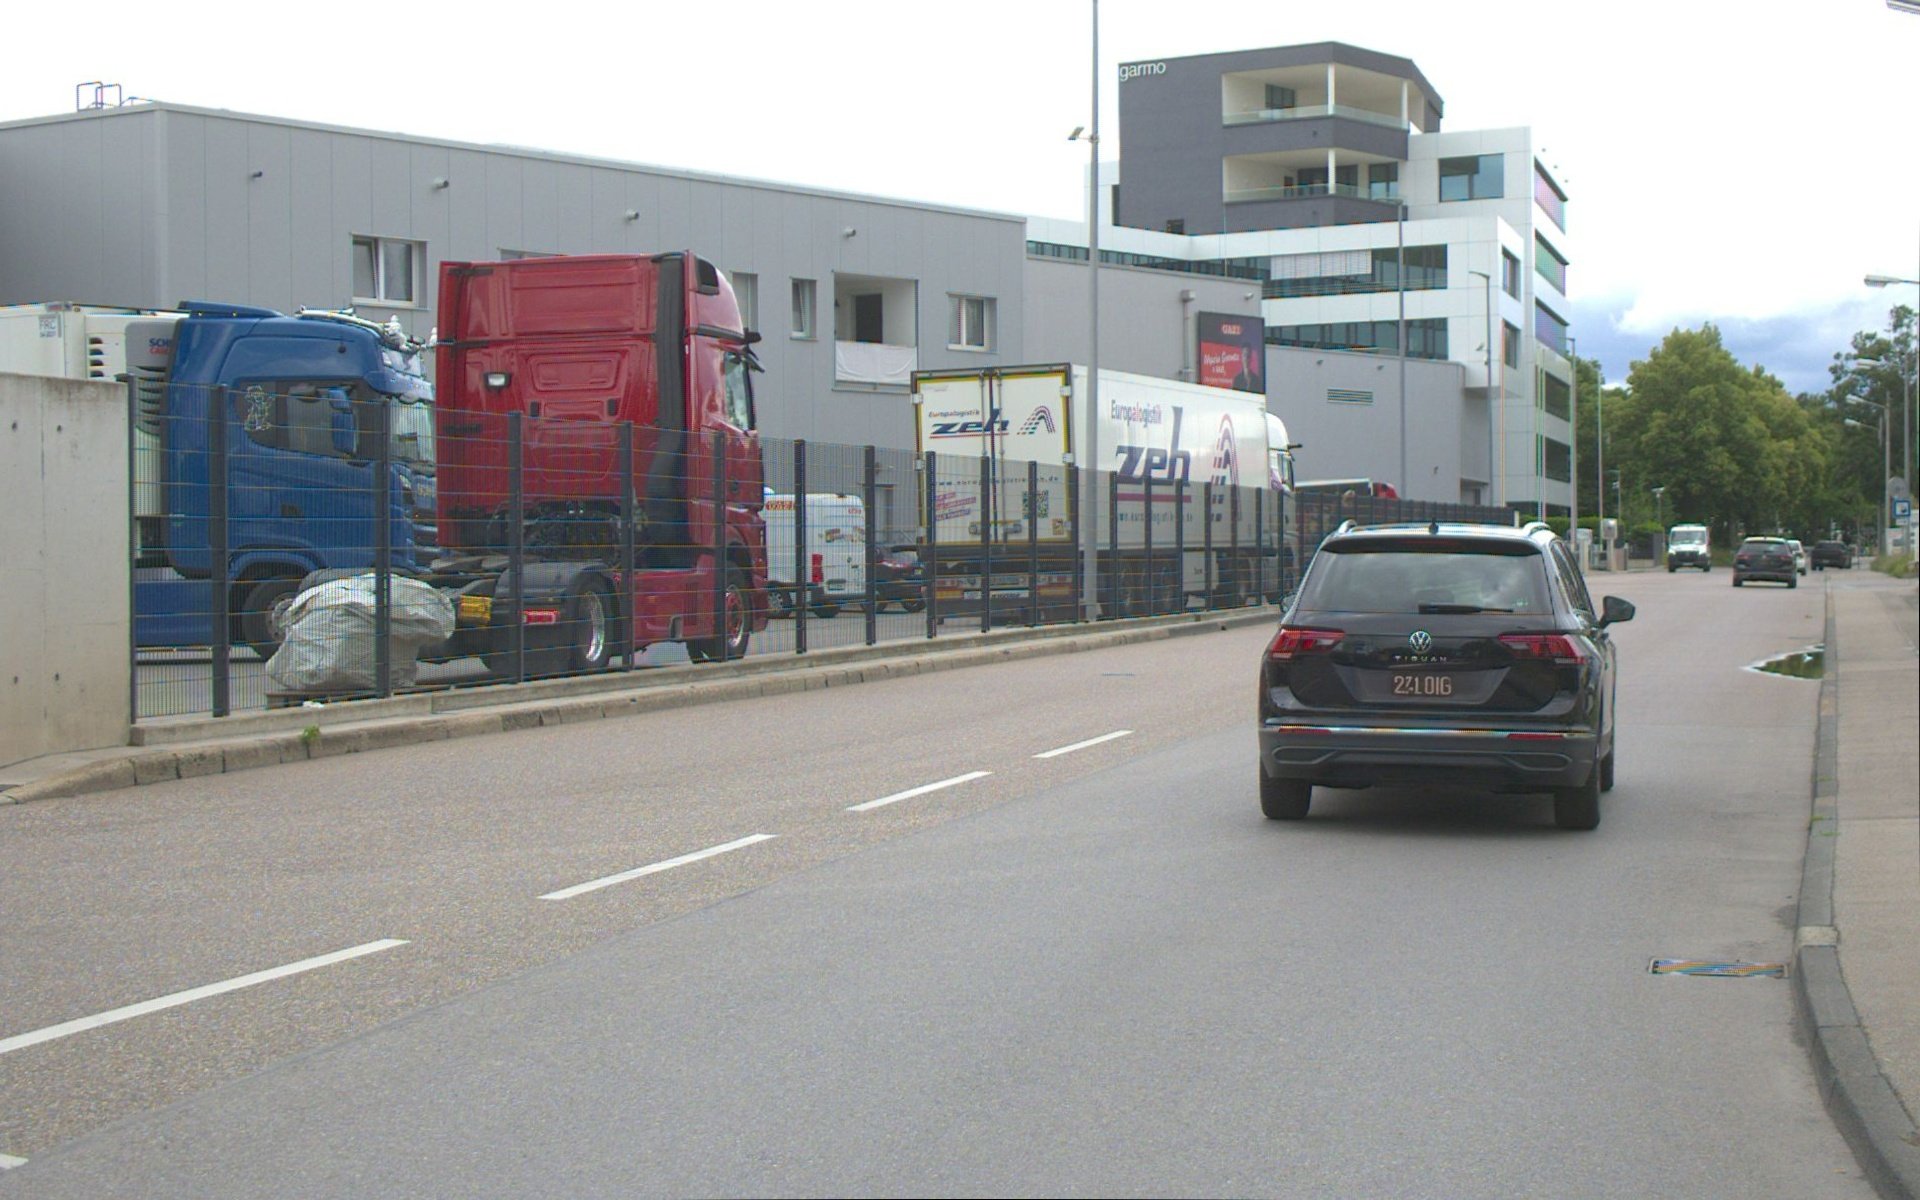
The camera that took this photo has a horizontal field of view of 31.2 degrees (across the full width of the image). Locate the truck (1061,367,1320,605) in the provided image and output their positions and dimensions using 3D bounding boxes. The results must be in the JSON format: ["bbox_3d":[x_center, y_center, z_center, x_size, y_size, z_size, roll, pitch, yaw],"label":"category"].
[{"bbox_3d":[4.535,-2.114,65.953,3.130,4.103,6.936,-4,0,18],"label":"truck"}]

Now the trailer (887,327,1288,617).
[{"bbox_3d":[2.579,-2.054,59.712,3.135,4.247,14.008,-4,0,17],"label":"trailer"}]

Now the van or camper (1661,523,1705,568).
[{"bbox_3d":[36.771,-2.777,174.769,1.995,2.248,3.997,0,1,15],"label":"van or camper"}]

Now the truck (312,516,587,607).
[{"bbox_3d":[-9.619,-0.720,64.653,4.922,1.646,2.223,0,1,35],"label":"truck"}]

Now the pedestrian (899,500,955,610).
[{"bbox_3d":[-0.546,-0.760,57.682,0.698,1.823,0.823,0,1,19],"label":"pedestrian"}]

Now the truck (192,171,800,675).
[{"bbox_3d":[-3.933,-1.456,31.080,2.924,4.006,6.936,0,1,16],"label":"truck"}]

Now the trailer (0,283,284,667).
[{"bbox_3d":[-14.807,-1.405,41.860,13.993,4.169,3.032,0,1,27],"label":"trailer"}]

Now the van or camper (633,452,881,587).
[{"bbox_3d":[-4.310,-1.677,72.718,4.981,2.753,2.100,0,1,34],"label":"van or camper"}]

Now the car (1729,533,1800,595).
[{"bbox_3d":[23.735,-1.078,101.393,1.995,1.744,3.998,0,2,14],"label":"car"}]

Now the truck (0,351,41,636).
[{"bbox_3d":[-16.020,-1.463,48.484,5.918,3.915,2.796,0,1,36],"label":"truck"}]

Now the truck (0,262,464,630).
[{"bbox_3d":[-8.664,-1.700,39.060,5.597,4.006,2.931,0,1,1],"label":"truck"}]

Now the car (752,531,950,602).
[{"bbox_3d":[-2.437,-0.741,76.711,3.995,1.546,1.996,0,1,34],"label":"car"}]

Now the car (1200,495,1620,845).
[{"bbox_3d":[2.687,0.284,19.645,1.994,1.678,4.369,2,3,12],"label":"car"}]
